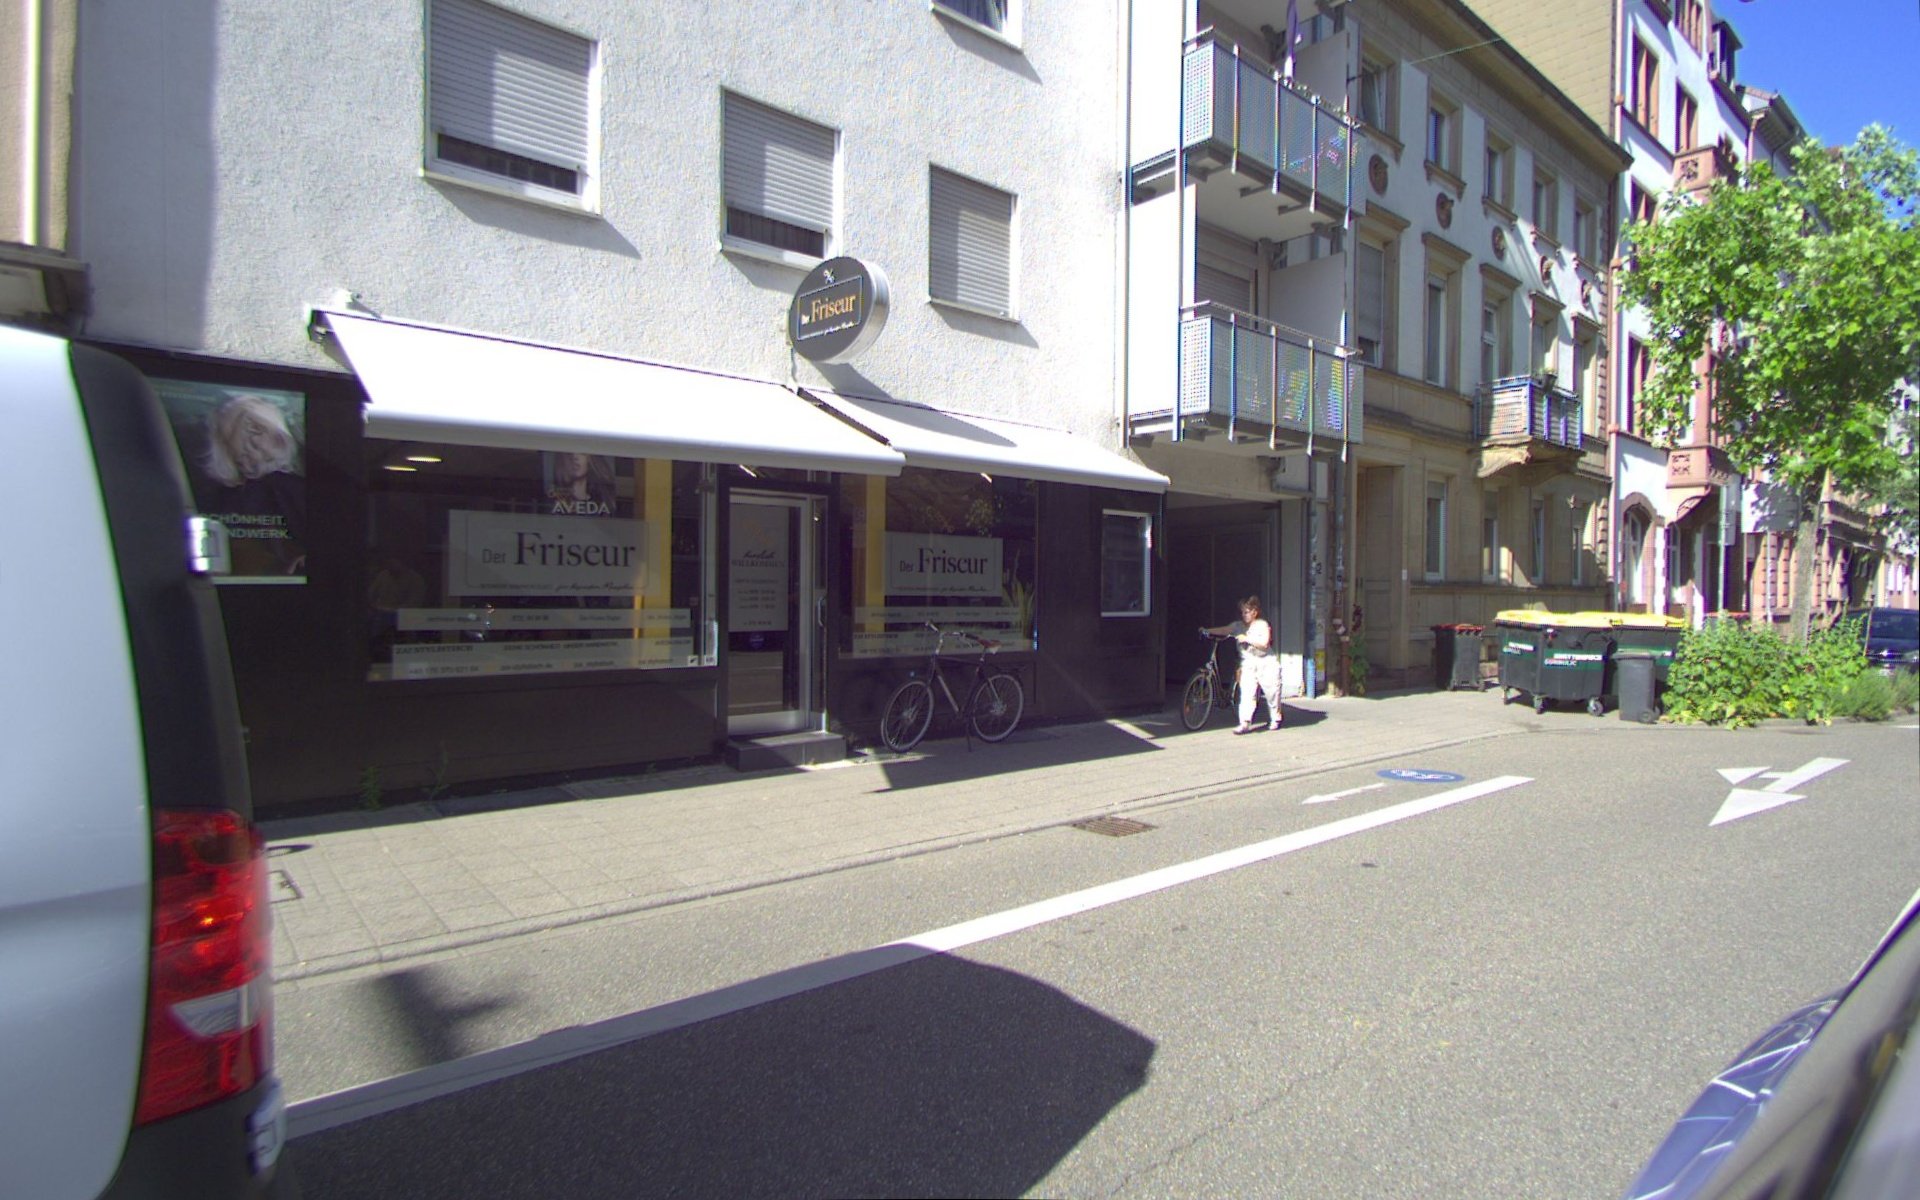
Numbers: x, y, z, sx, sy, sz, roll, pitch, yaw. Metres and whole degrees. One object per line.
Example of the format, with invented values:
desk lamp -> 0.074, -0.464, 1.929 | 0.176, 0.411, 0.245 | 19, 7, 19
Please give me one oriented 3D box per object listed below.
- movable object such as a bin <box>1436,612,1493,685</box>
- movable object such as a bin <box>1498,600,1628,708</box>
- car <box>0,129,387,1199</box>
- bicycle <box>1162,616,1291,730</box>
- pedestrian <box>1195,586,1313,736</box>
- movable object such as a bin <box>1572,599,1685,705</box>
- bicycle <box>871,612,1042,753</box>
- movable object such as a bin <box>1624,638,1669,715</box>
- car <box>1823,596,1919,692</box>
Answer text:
movable object such as a bin -> 7.971, 0.757, 15.997 | 0.557, 1.094, 0.617 | 1, 3, 2
movable object such as a bin -> 8.269, 0.715, 13.949 | 1.031, 1.341, 1.216 | 1, 3, 2
car -> -3.136, 0.469, 0.296 | 4.909, 1.892, 1.839 | 0, 1, -41
bicycle -> 3.007, 0.775, 11.318 | 1.760, 1.146, 0.402 | 0, 4, -40
pedestrian -> 3.310, 0.646, 11.403 | 0.930, 1.556, 0.825 | 0, 4, -40
movable object such as a bin -> 9.388, 0.702, 14.266 | 0.943, 1.365, 1.066 | 1, 3, 12
bicycle -> 0.004, 0.725, 9.526 | 1.760, 1.193, 0.402 | 0, 0, -40
movable object such as a bin -> 8.994, 0.987, 13.254 | 0.399, 0.933, 0.478 | 3, 3, 42
car -> 16.286, 0.697, 17.537 | 3.293, 1.510, 1.550 | 0, 1, -41
